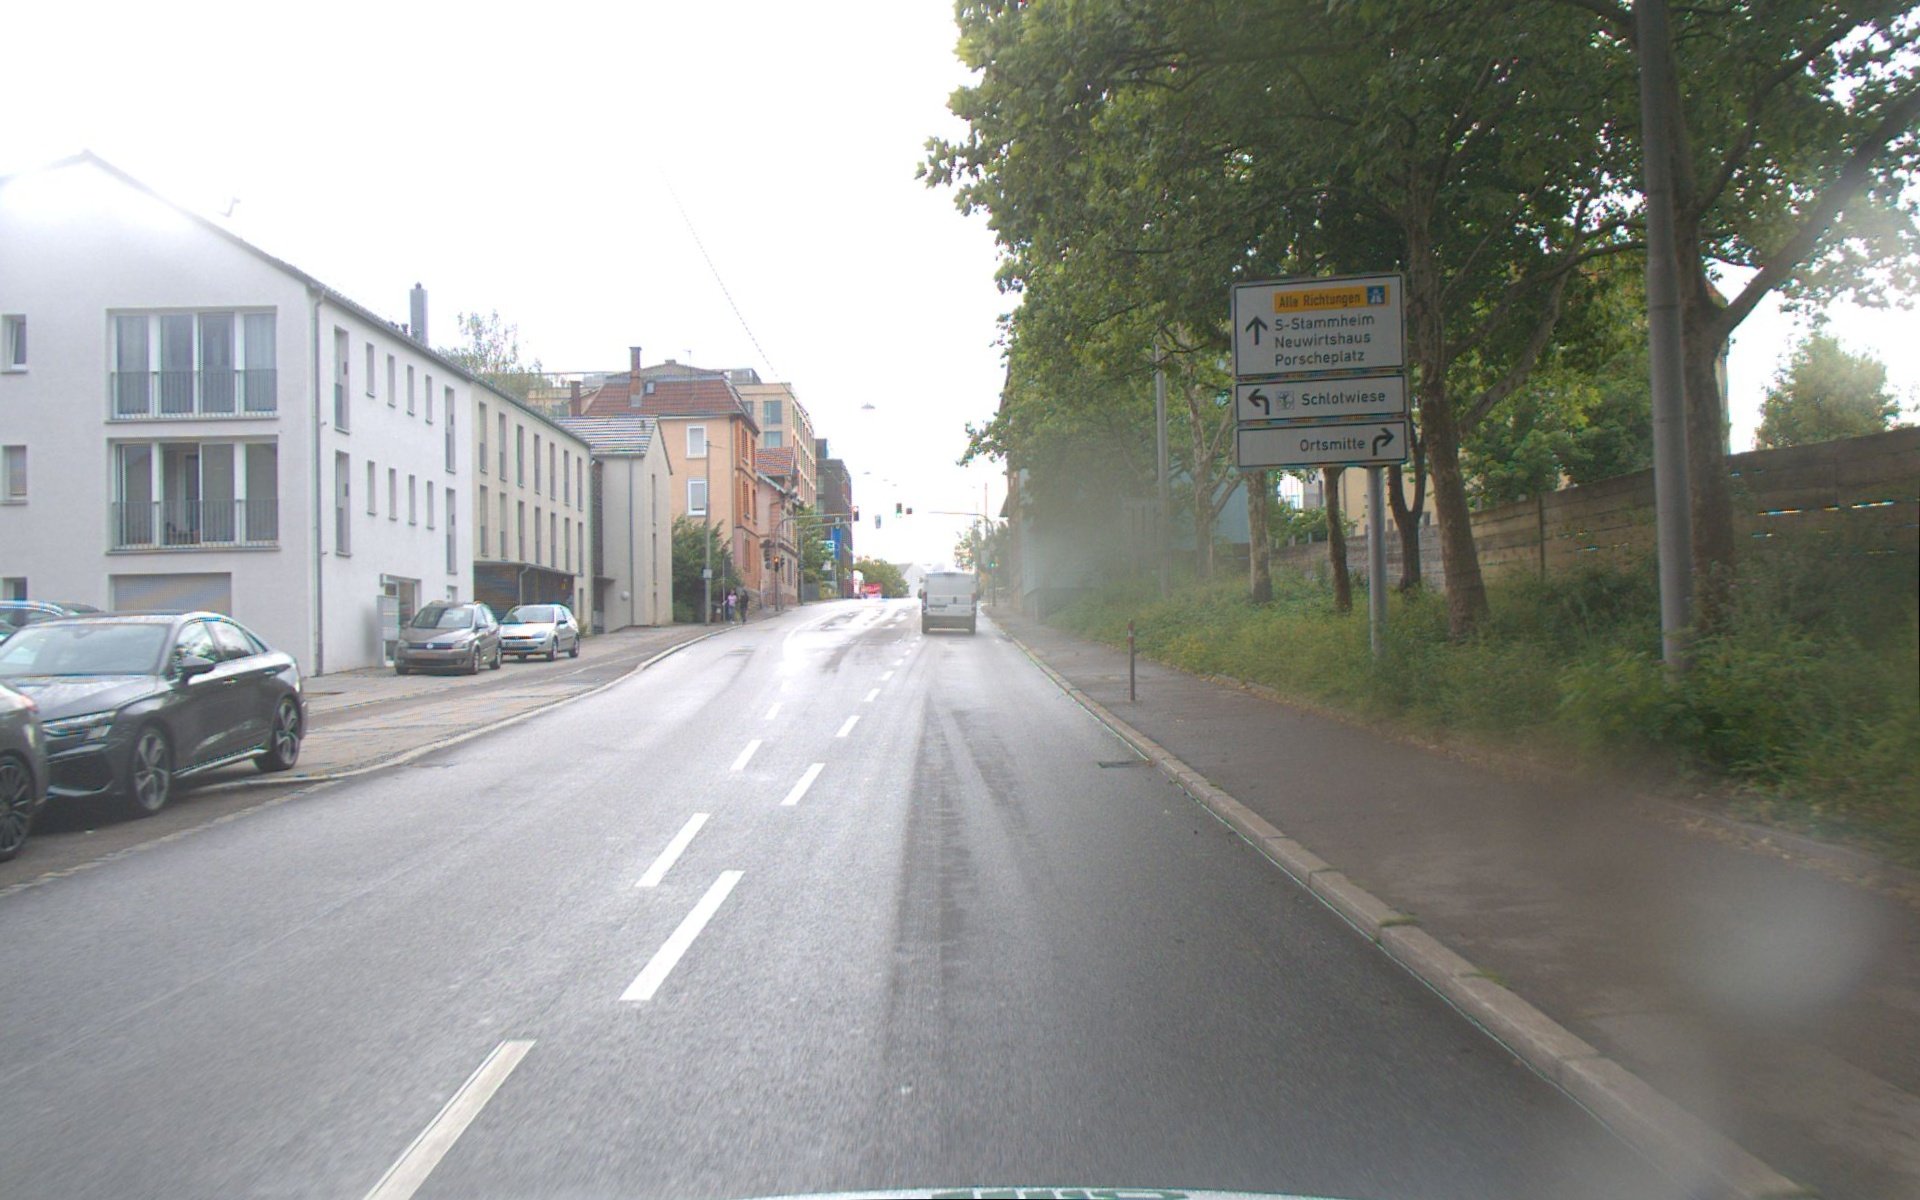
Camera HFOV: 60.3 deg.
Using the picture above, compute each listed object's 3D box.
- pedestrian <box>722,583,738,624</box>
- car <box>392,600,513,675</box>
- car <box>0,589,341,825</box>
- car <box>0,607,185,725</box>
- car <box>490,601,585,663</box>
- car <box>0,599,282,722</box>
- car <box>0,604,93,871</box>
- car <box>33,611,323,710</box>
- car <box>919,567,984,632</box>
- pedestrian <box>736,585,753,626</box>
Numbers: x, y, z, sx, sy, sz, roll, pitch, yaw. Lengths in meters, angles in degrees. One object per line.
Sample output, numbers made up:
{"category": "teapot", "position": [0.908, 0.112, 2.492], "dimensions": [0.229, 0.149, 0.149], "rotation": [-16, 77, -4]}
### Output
{"category": "pedestrian", "position": [-11.700, 0.186, 84.154], "dimensions": [0.657, 2.049, 0.942], "rotation": [-1, 0, 3]}
{"category": "car", "position": [-11.534, 0.815, 37.840], "dimensions": [1.634, 1.557, 4.093], "rotation": [-1, 0, -2]}
{"category": "car", "position": [-6.426, 0.695, 12.829], "dimensions": [1.601, 1.508, 4.358], "rotation": [1, 0, 0]}
{"category": "car", "position": [-13.272, 0.912, 22.744], "dimensions": [4.201, 1.489, 2.068], "rotation": [-1, 0, -1]}
{"category": "car", "position": [-11.388, 0.828, 44.806], "dimensions": [1.634, 1.557, 4.093], "rotation": [-1, 0, -2]}
{"category": "car", "position": [-12.884, 0.901, 25.383], "dimensions": [4.063, 1.727, 2.001], "rotation": [-1, 0, 2]}
{"category": "car", "position": [-6.294, 0.801, 8.185], "dimensions": [1.708, 1.508, 4.385], "rotation": [-1, 0, 0]}
{"category": "car", "position": [-13.138, 0.991, 27.949], "dimensions": [3.904, 1.497, 2.001], "rotation": [-1, 0, 2]}
{"category": "car", "position": [-0.316, 0.022, 61.757], "dimensions": [2.288, 2.270, 3.999], "rotation": [-2, -1, 0]}
{"category": "pedestrian", "position": [-10.971, 0.270, 84.121], "dimensions": [0.657, 2.049, 0.942], "rotation": [-1, 0, 3]}
